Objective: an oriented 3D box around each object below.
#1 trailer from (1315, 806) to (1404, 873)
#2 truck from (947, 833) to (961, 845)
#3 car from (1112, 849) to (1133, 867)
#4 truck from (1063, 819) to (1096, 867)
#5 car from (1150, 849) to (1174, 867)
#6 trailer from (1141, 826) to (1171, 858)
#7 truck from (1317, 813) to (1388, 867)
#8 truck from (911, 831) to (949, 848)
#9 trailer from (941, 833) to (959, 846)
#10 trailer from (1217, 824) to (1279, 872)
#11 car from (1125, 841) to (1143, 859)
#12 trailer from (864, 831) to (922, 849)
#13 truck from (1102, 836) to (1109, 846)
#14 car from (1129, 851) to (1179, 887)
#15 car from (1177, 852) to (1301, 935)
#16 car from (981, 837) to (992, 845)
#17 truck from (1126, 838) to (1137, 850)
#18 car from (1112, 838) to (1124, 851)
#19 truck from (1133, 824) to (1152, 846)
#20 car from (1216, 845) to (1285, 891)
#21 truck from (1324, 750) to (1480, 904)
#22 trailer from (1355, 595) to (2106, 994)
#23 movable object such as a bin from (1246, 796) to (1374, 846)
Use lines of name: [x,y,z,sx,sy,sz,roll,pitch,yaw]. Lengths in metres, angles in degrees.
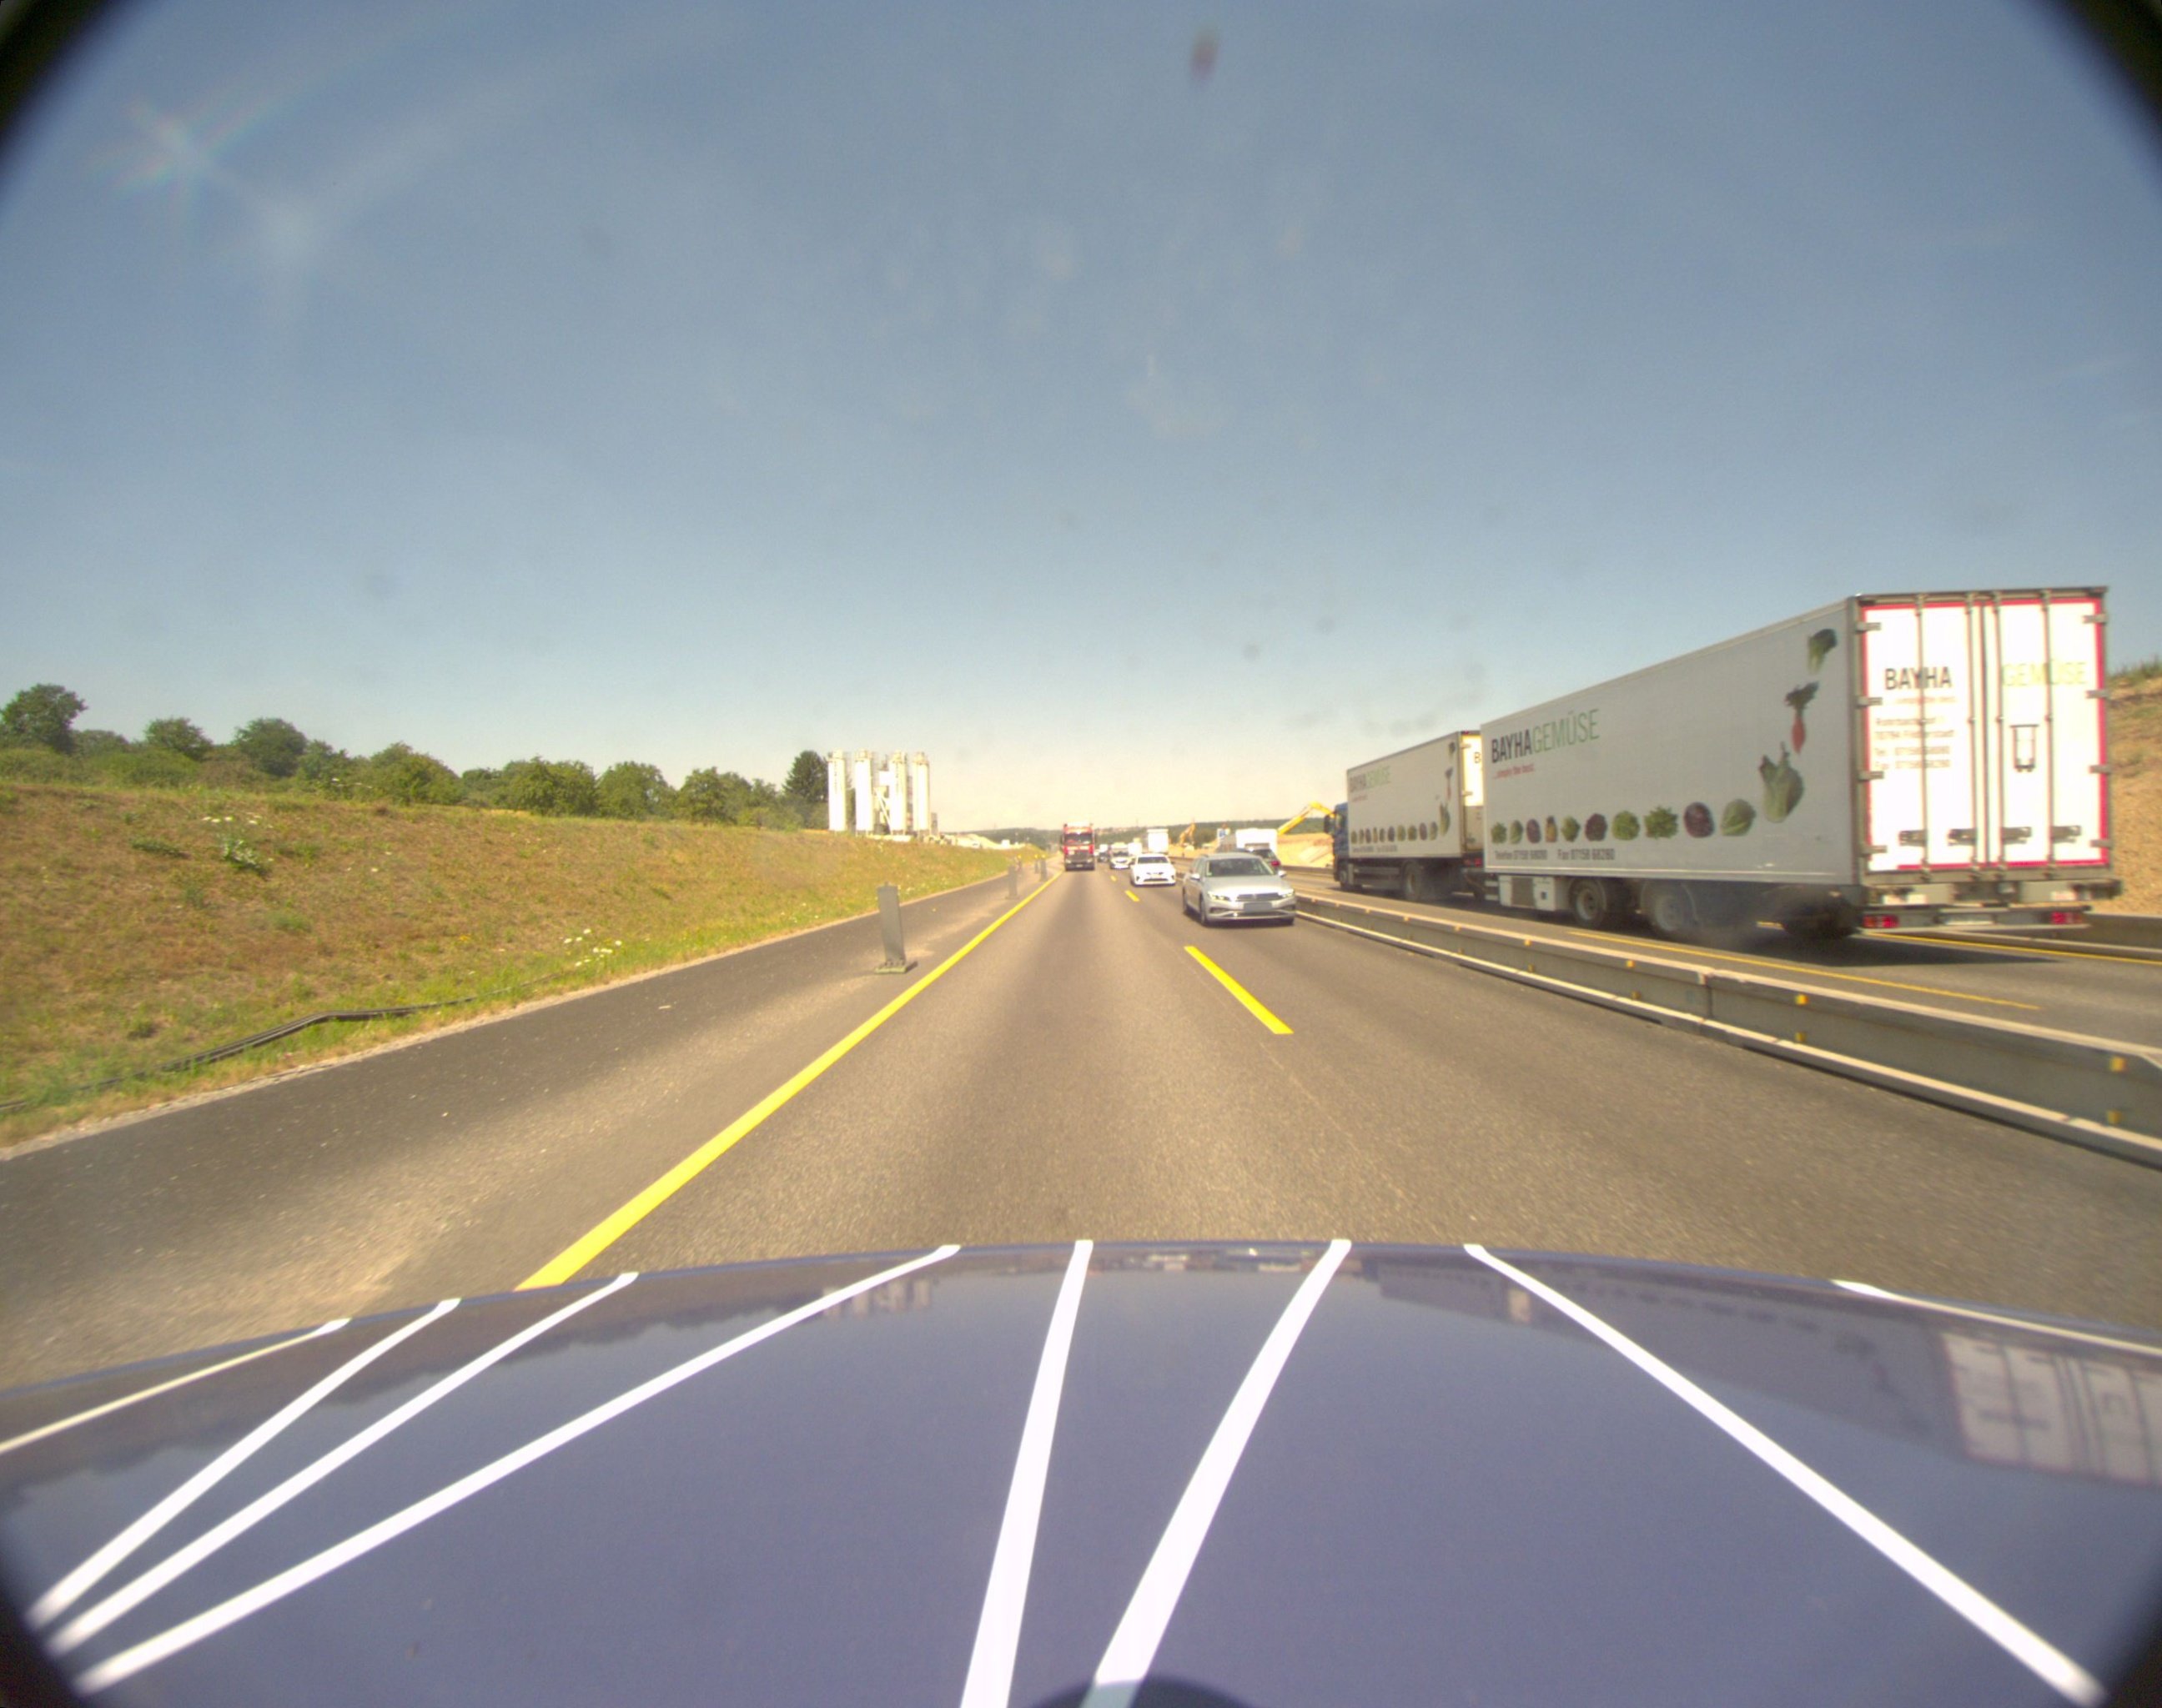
trailer: [18.438,-1.015,49.966,2.792,4.075,8.385,-1,2,39]
truck: [-27.150,-3.152,162.549,2.021,2.531,4.041,-2,1,4]
car: [3.525,0.314,65.288,1.601,1.390,3.695,-2,1,1]
truck: [-0.015,-1.011,66.713,2.537,3.799,9.480,-2,1,1]
car: [7.231,0.314,68.402,1.693,1.493,3.975,-2,1,0]
trailer: [10.281,-1.687,105.710,2.861,4.070,13.650,-1,1,1]
truck: [16.226,-0.824,45.778,2.584,2.947,5.062,-2,1,3]
truck: [-25.124,-2.433,126.343,5.317,2.530,2.897,-3,2,-36]
trailer: [-27.379,-3.062,159.032,1.998,2.629,6.936,-2,1,4]
trailer: [10.058,-0.369,46.333,2.317,2.671,6.755,0,1,0]
car: [6.999,-0.579,100.555,1.998,2.279,5.342,-2,1,0]
trailer: [-30.767,-2.296,124.689,8.919,2.592,2.463,-2,1,-3]
truck: [7.899,-4.146,243.053,2.276,3.132,7.313,-2,1,2]
car: [3.229,0.639,34.264,1.875,1.390,4.029,-2,1,1]
car: [3.256,0.739,16.458,1.804,1.499,4.100,-2,0,0]
car: [-22.934,-3.175,184.284,1.990,1.752,3.601,-2,1,0]
truck: [12.123,-2.428,182.803,2.103,2.554,6.354,-3,-1,0]
car: [10.525,-2.645,215.012,2.915,3.718,8.090,-2,0,1]
truck: [10.794,-3.321,134.034,2.651,3.695,9.480,-2,1,1]
car: [6.658,0.493,30.365,1.693,1.604,4.592,-2,1,0]
truck: [9.713,-0.750,23.723,2.497,4.174,5.911,0,1,2]
trailer: [9.578,-0.672,15.730,2.508,4.155,15.533,0,0,1]
movable object such as a bin: [34.587,-4.909,115.308,18.266,6.734,3.387,-2,2,0]
